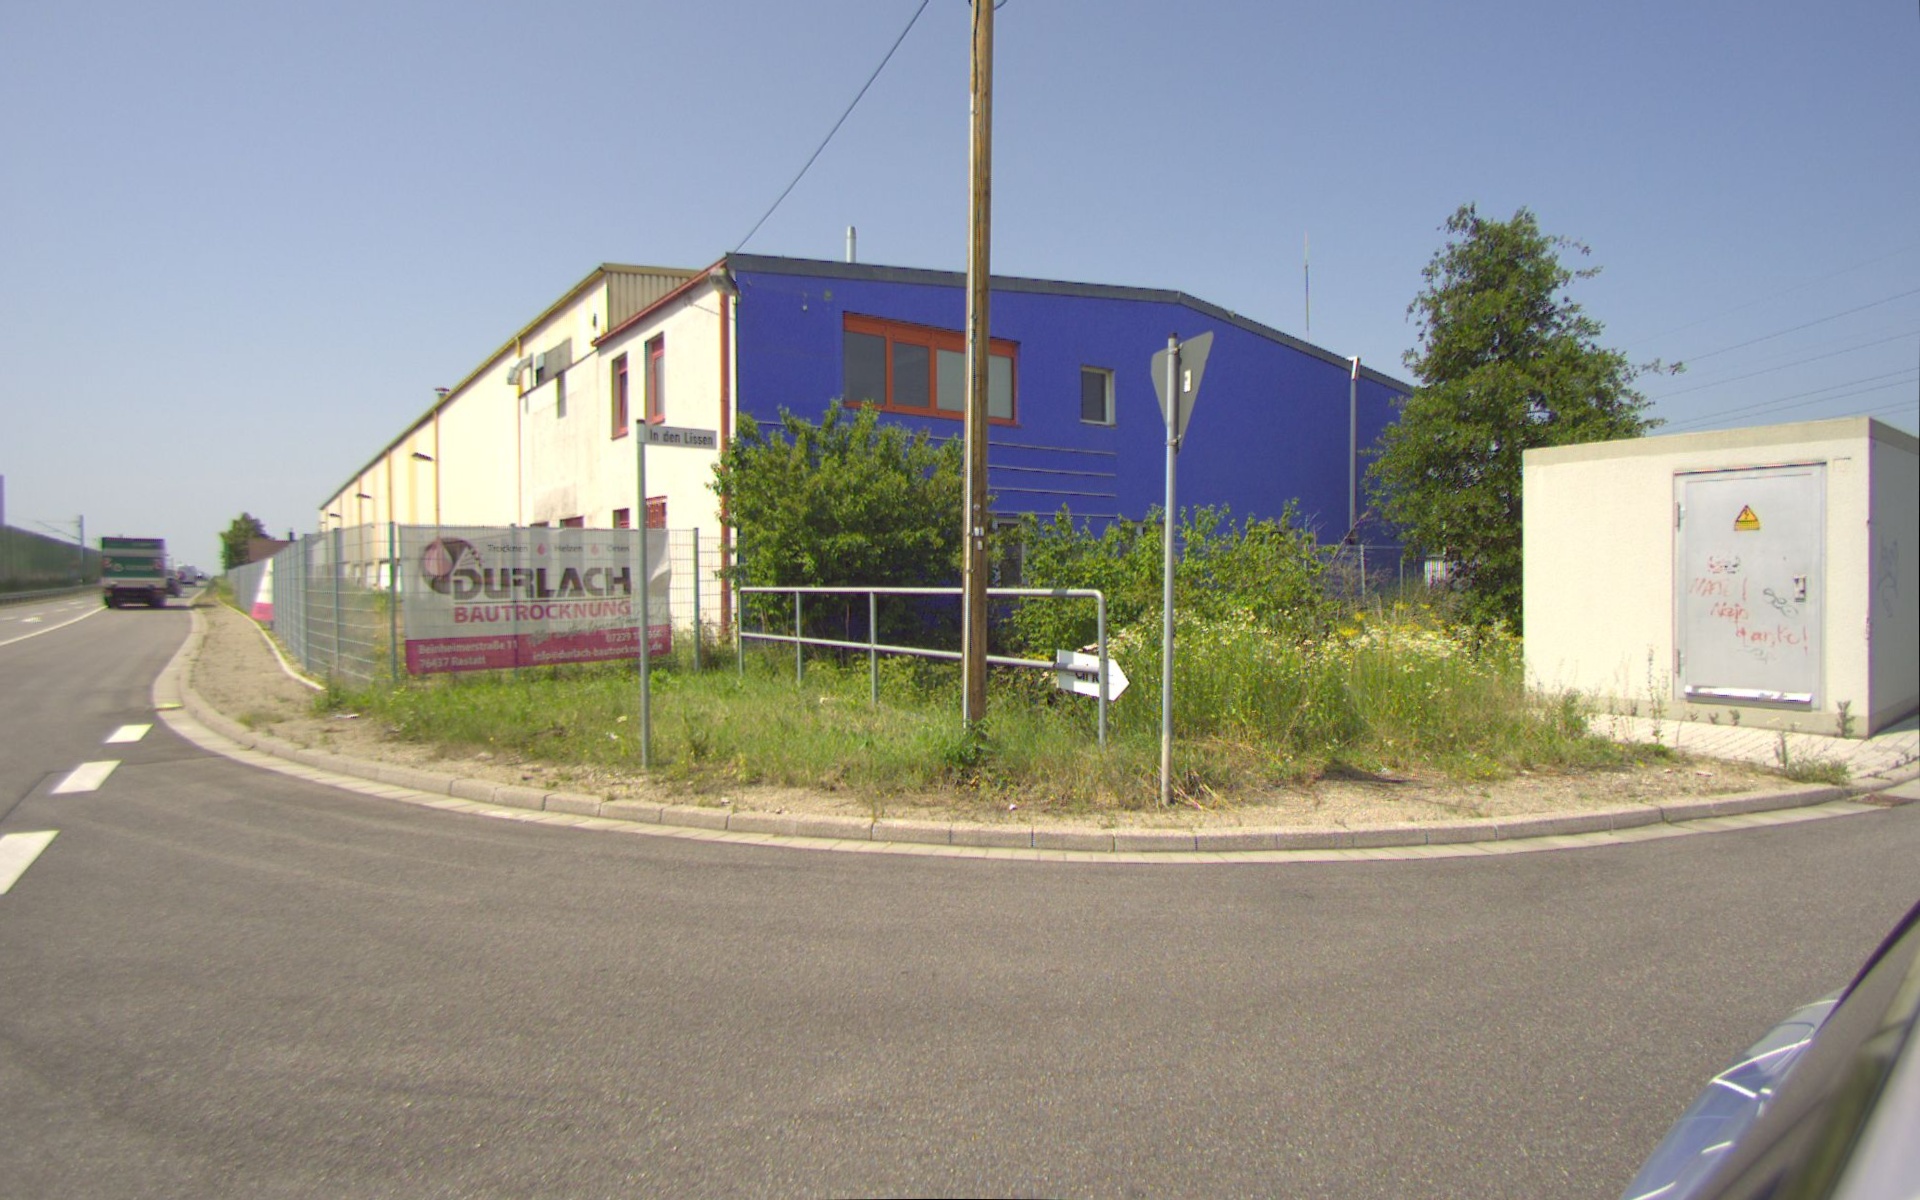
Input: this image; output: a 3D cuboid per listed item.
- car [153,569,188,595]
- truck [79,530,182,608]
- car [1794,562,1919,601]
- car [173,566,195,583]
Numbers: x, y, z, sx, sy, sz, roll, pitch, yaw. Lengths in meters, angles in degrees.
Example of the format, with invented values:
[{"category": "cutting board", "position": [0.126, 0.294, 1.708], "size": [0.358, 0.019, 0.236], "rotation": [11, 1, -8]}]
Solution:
[{"category": "car", "position": [-63.179, -1.413, 81.015], "size": [1.962, 2.039, 3.999], "rotation": [-1, 1, -35]}, {"category": "truck", "position": [-45.907, -1.597, 56.362], "size": [3.499, 3.927, 11.414], "rotation": [-1, 1, -35]}, {"category": "car", "position": [35.219, -0.714, 39.149], "size": [4.556, 1.445, 1.971], "rotation": [0, 1, 41]}, {"category": "car", "position": [-94.475, -3.089, 123.266], "size": [1.962, 2.039, 3.999], "rotation": [-1, 1, -35]}]
